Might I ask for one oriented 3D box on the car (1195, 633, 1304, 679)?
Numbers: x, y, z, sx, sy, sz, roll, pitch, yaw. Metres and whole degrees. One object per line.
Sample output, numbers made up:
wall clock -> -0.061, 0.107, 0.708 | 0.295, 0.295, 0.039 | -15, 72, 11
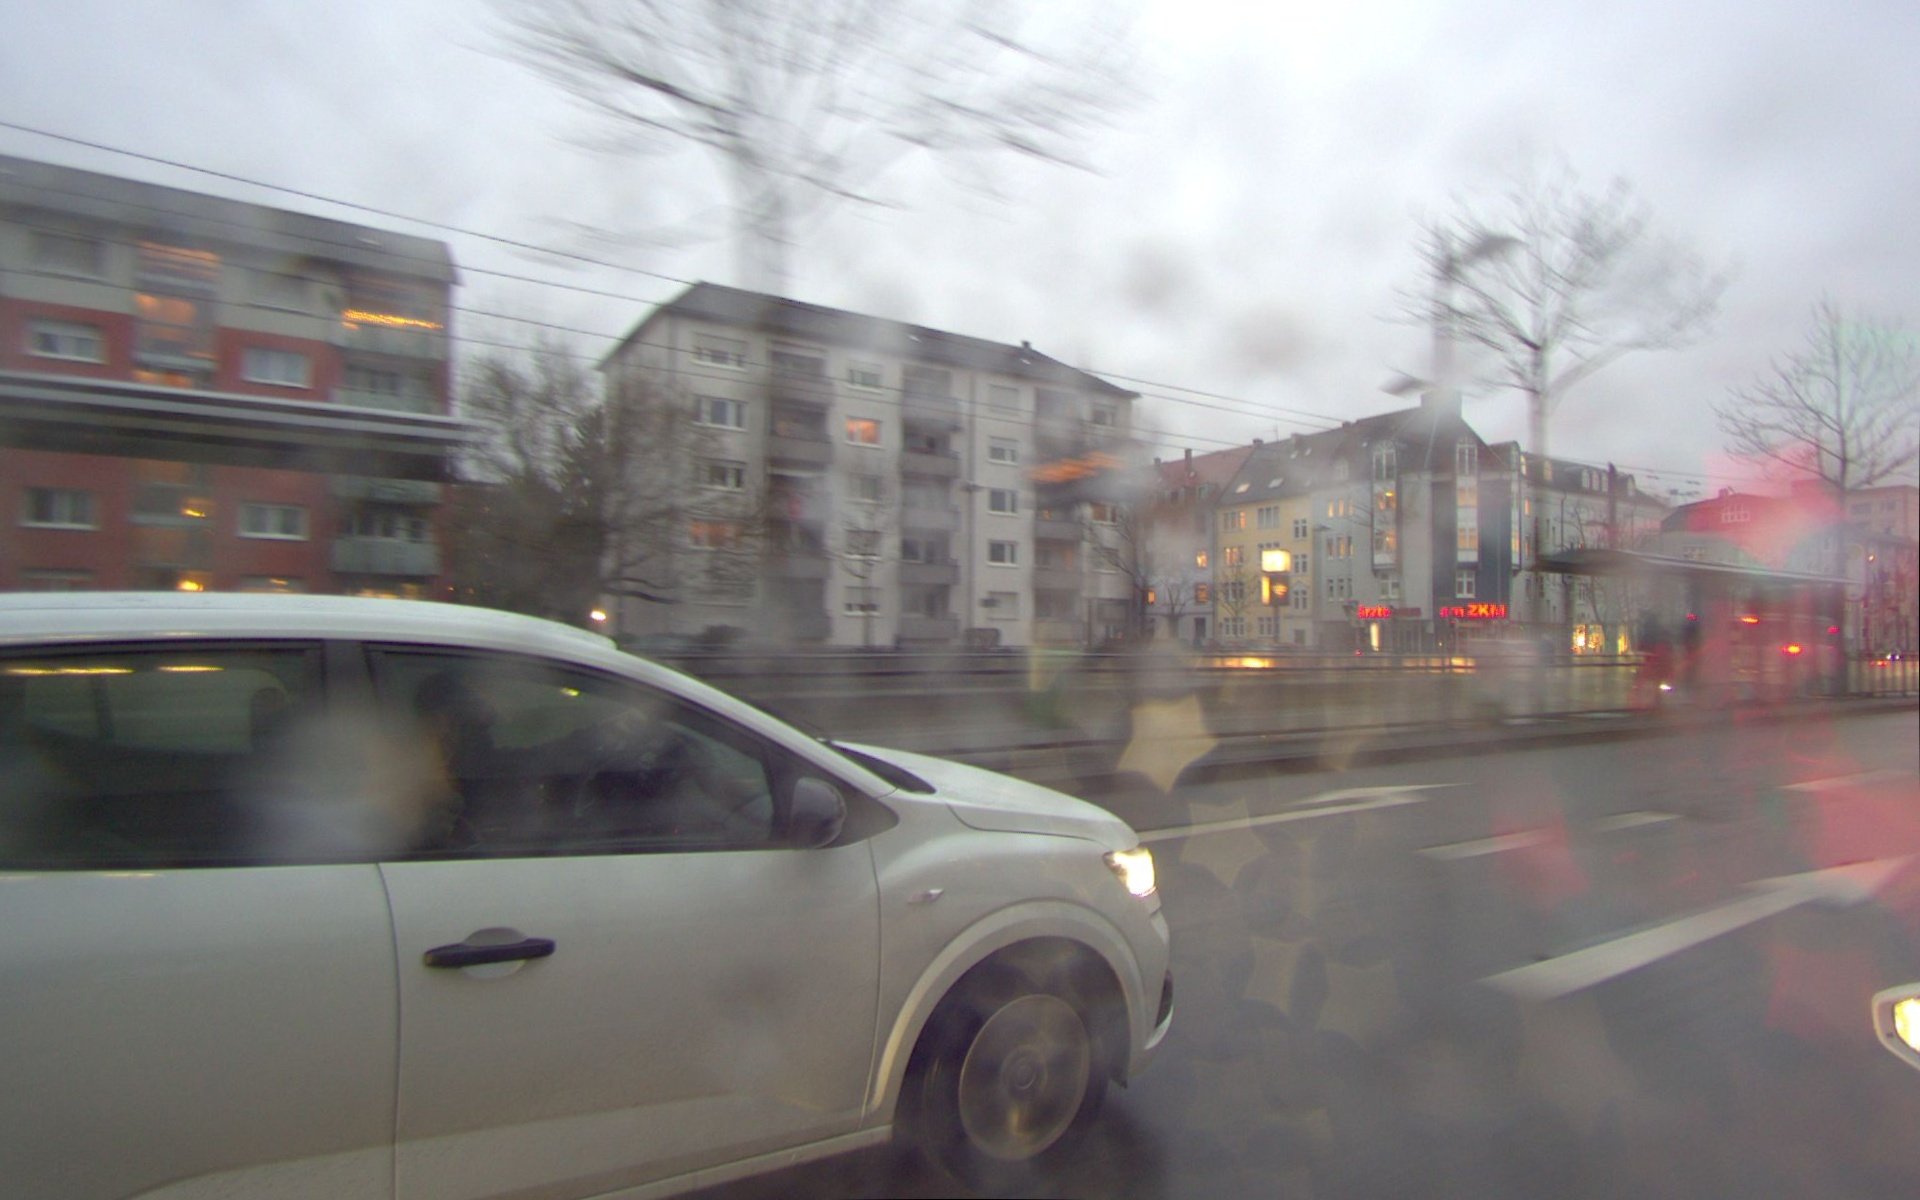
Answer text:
car -> 10.550, 2.059, 36.588 | 3.717, 1.517, 1.750 | 3, -1, -31

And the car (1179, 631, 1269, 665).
car -> 12.141, 2.186, 46.376 | 1.683, 1.384, 3.770 | 3, -1, -37

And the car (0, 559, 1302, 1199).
car -> -1.140, 0.721, 2.752 | 3.952, 1.485, 1.701 | 3, -1, -29

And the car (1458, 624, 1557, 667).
car -> 21.780, 1.810, 39.976 | 3.714, 1.517, 1.751 | 3, -1, -30

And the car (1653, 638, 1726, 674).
car -> 36.268, 2.767, 49.946 | 3.296, 1.634, 1.672 | 3, -1, -29

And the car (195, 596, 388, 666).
car -> -17.579, 0.834, 26.678 | 4.103, 1.667, 1.716 | 3, -1, -31
